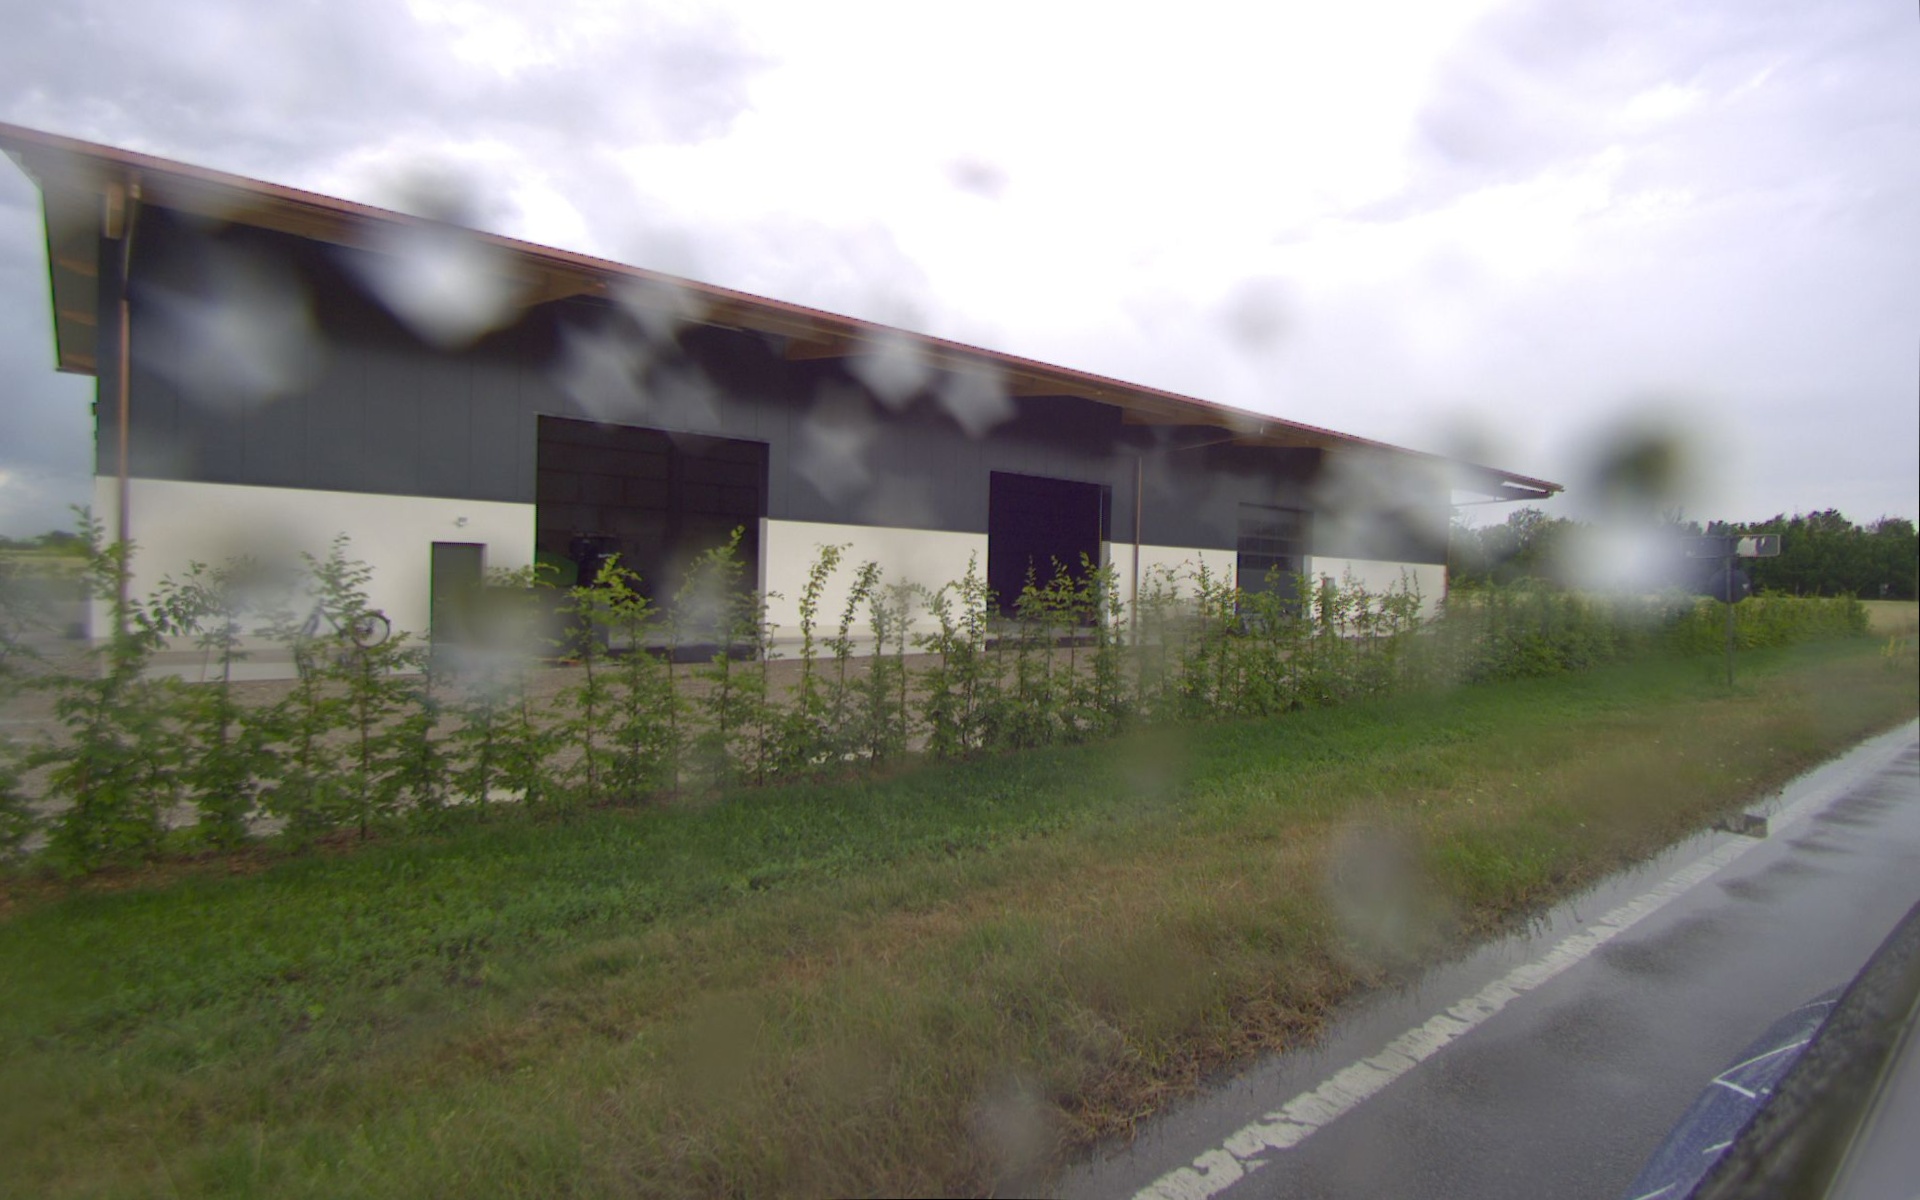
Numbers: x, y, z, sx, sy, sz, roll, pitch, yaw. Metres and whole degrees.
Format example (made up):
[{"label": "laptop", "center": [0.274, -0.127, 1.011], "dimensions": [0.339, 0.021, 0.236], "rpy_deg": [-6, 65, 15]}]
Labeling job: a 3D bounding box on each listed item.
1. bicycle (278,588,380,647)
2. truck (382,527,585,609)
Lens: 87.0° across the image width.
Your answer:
[{"label": "bicycle", "center": [-12.194, 0.317, 19.590], "dimensions": [1.631, 1.085, 0.391], "rpy_deg": [0, 2, -41]}, {"label": "truck", "center": [-16.454, -1.066, 35.160], "dimensions": [6.047, 2.639, 2.122], "rpy_deg": [0, 2, -40]}]
